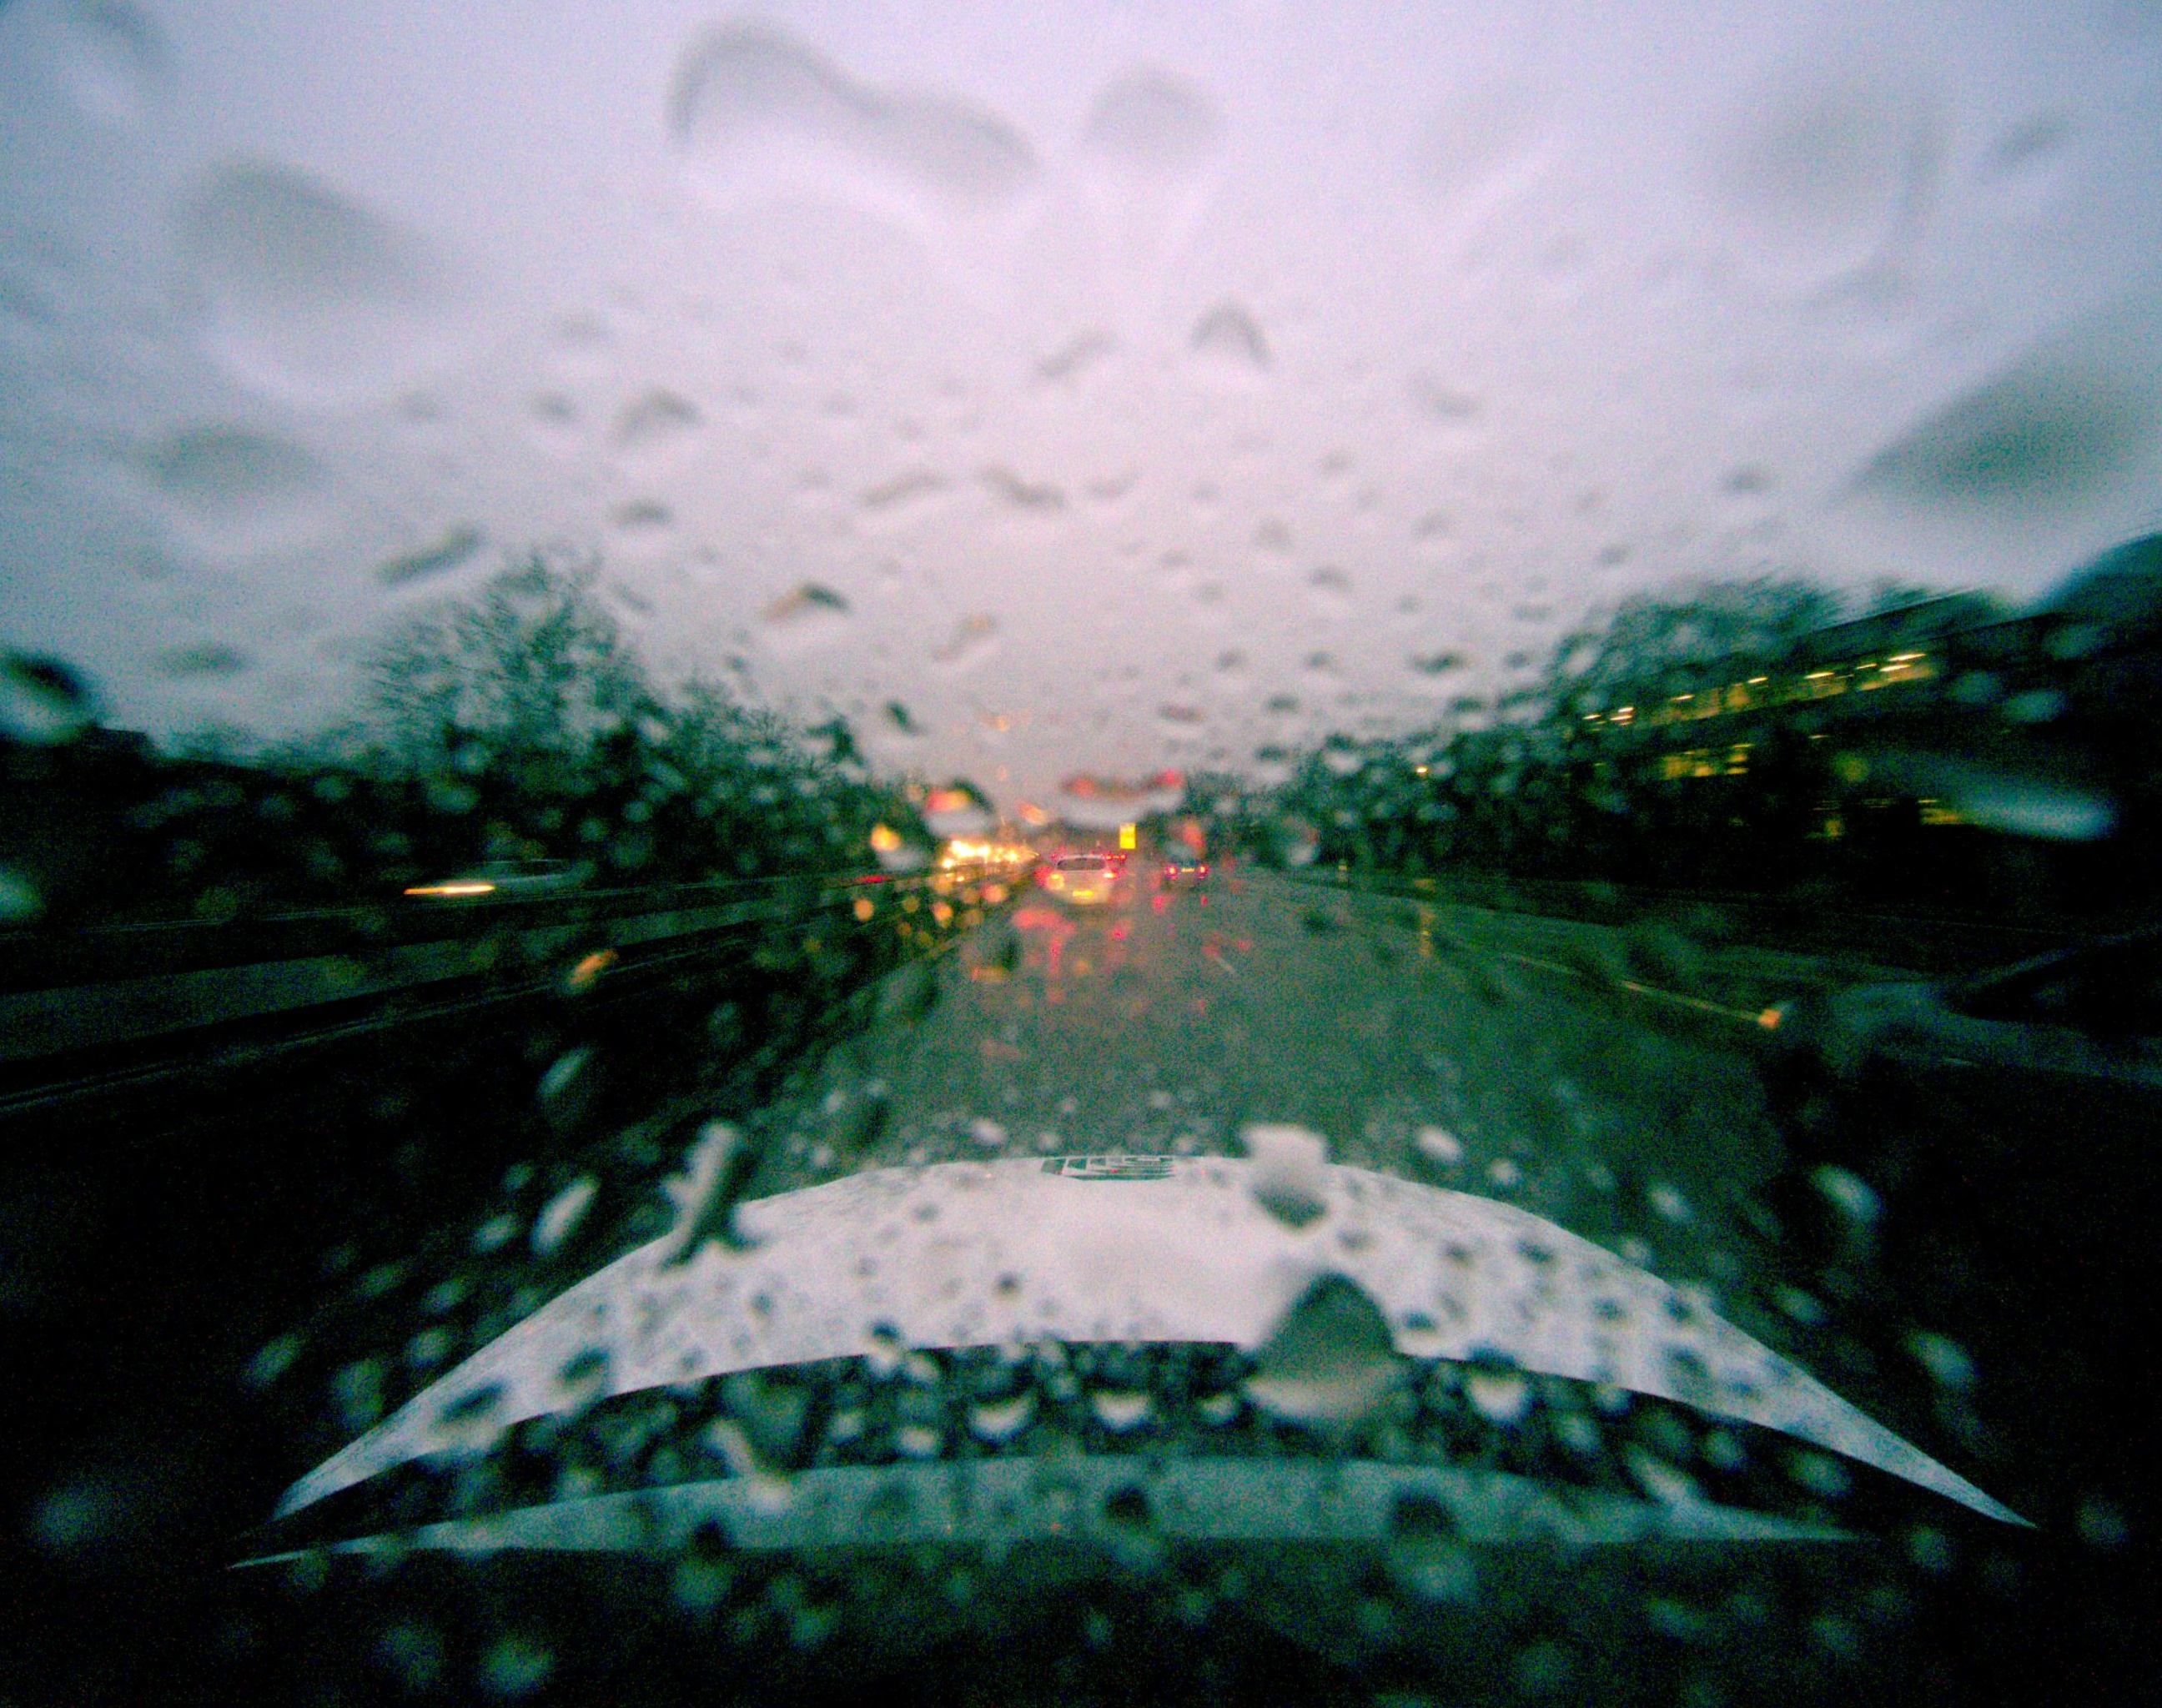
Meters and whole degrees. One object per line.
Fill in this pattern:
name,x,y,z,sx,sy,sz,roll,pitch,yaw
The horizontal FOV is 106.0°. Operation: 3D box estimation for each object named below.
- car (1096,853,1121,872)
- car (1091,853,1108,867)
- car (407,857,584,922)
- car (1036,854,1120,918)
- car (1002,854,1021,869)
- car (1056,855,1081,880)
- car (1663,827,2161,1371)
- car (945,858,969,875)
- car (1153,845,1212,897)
car,2.541,0.826,75.835,1.928,1.546,3.770,-7,-1,-2
car,2.186,0.710,98.489,1.927,1.546,3.772,-1,0,-1
car,-18.703,1.060,26.302,1.981,1.913,4.459,-1,0,11
car,0.023,0.805,22.430,2.016,1.575,4.004,-1,0,4
car,-7.085,0.791,83.477,1.611,1.484,4.597,-1,0,-1
car,-1.001,1.102,67.460,1.988,2.013,3.998,-1,0,-1
car,3.888,0.667,2.129,1.842,1.501,4.265,-1,0,3
car,-11.924,1.147,78.563,1.699,1.566,4.848,-1,0,-1
car,4.135,0.675,33.839,1.927,2.019,3.772,-1,0,-1
